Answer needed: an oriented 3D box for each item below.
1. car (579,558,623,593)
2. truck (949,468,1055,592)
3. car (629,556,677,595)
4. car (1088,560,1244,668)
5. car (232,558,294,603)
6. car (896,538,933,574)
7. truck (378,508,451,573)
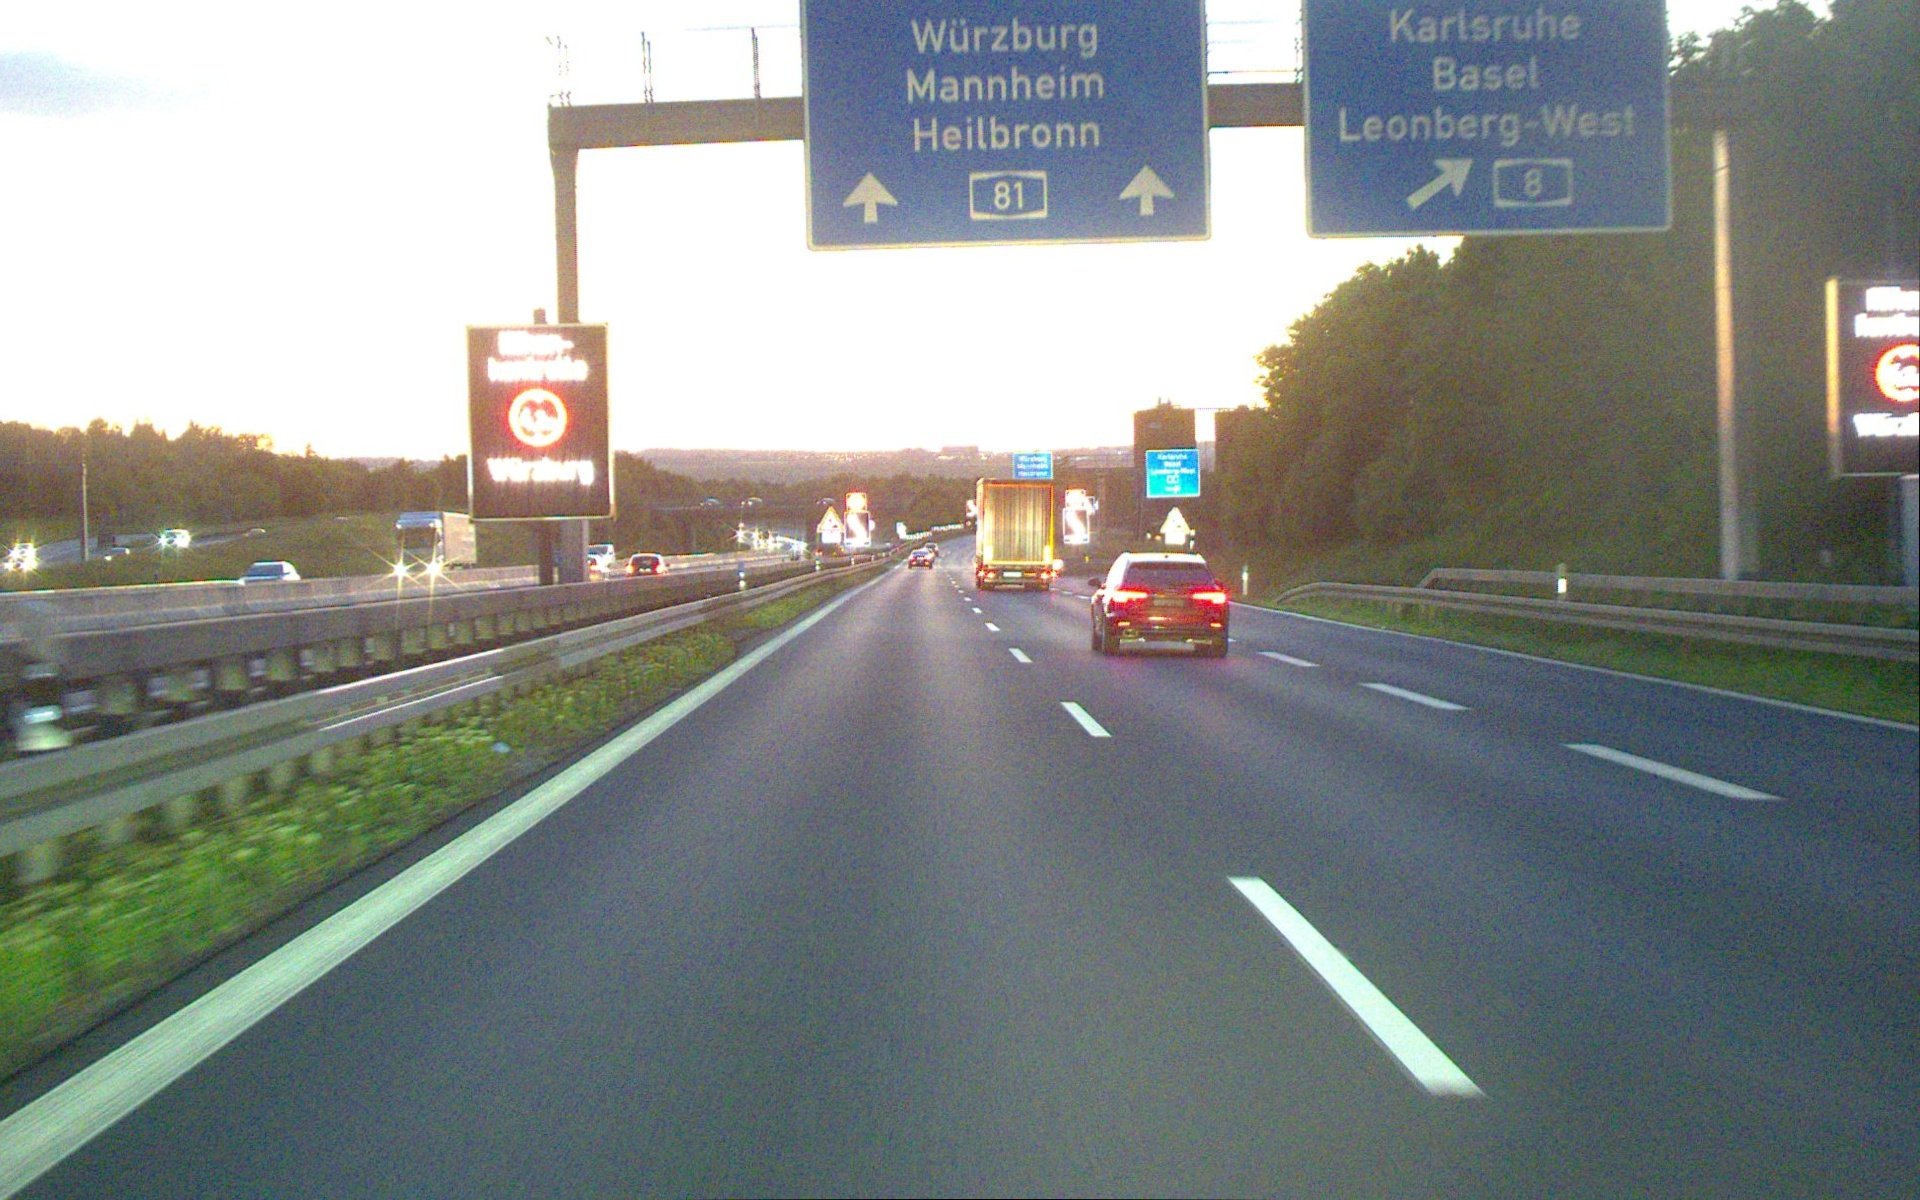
[{"bbox_3d":[-16.413,-1.111,157.211,1.638,1.541,3.395,-1,1,0],"label":"car"},{"bbox_3d":[1.459,-2.538,126.546,3.509,4.286,9.892,-1,1,-1],"label":"truck"},{"bbox_3d":[-12.988,-1.050,145.596,1.713,1.600,3.722,-1,1,-1],"label":"car"},{"bbox_3d":[2.907,0.176,49.233,1.915,1.437,4.000,-1,1,-1],"label":"car"},{"bbox_3d":[-26.913,-0.772,132.848,1.682,1.700,3.752,0,1,-1],"label":"car"},{"bbox_3d":[-2.558,-2.473,193.533,1.993,2.007,4.000,-1,1,-1],"label":"car"},{"bbox_3d":[-31.139,-3.369,196.461,3.309,3.607,5.498,-1,1,-1],"label":"truck"}]
